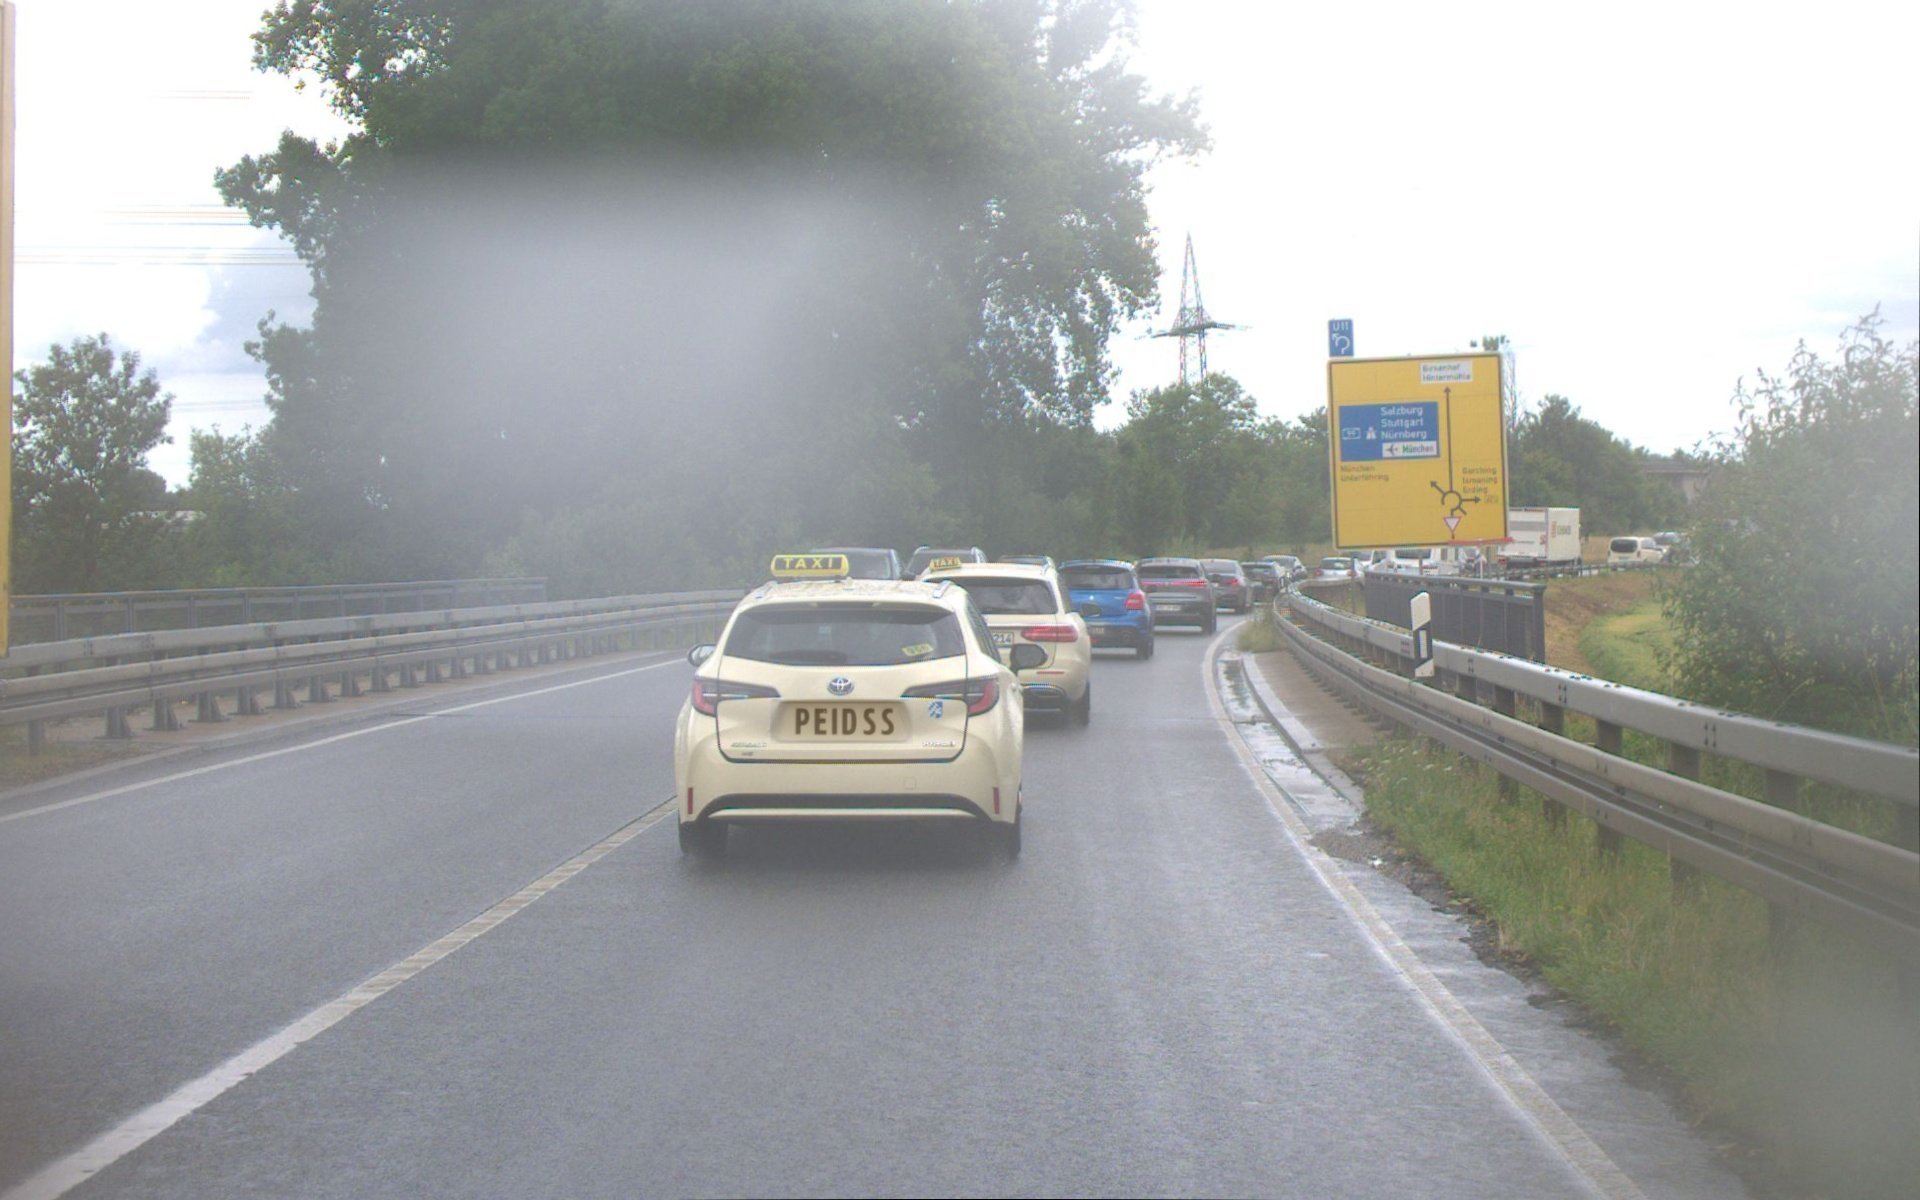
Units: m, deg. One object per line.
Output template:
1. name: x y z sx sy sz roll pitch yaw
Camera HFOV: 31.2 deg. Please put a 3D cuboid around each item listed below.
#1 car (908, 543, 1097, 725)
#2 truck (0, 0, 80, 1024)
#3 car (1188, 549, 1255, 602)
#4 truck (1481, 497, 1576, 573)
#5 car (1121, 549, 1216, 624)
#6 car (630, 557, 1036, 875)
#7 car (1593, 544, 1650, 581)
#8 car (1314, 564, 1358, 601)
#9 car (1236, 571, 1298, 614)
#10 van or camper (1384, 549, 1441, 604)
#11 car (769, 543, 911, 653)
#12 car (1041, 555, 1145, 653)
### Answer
1. car: 0.442 0.278 31.625 1.578 1.567 3.681 0 0 3
2. truck: -4.468 -0.321 7.252 2.770 3.417 9.187 0 1 1
3. car: 7.231 -0.649 94.756 1.661 1.404 3.903 0 0 7
4. truck: 28.106 -3.174 169.831 3.143 3.550 7.513 1 0 21
5. car: 4.169 -0.277 68.482 1.665 1.459 3.476 0 0 7
6. car: -0.572 0.545 18.770 1.906 1.532 4.161 0 0 2
7. car: 36.437 -2.054 189.302 2.169 2.007 3.995 1 0 24
8. car: 13.767 -0.638 125.634 1.483 1.304 3.476 0 0 8
9. car: 9.693 -0.244 108.415 1.483 1.304 3.475 0 0 13
10. van or camper: 18.932 -0.984 143.750 1.995 2.246 3.998 1 0 13
11. car: -1.862 -0.065 54.523 1.746 1.648 4.524 0 1 4
12. car: 2.056 0.052 52.372 1.506 1.432 3.355 1 0 3
